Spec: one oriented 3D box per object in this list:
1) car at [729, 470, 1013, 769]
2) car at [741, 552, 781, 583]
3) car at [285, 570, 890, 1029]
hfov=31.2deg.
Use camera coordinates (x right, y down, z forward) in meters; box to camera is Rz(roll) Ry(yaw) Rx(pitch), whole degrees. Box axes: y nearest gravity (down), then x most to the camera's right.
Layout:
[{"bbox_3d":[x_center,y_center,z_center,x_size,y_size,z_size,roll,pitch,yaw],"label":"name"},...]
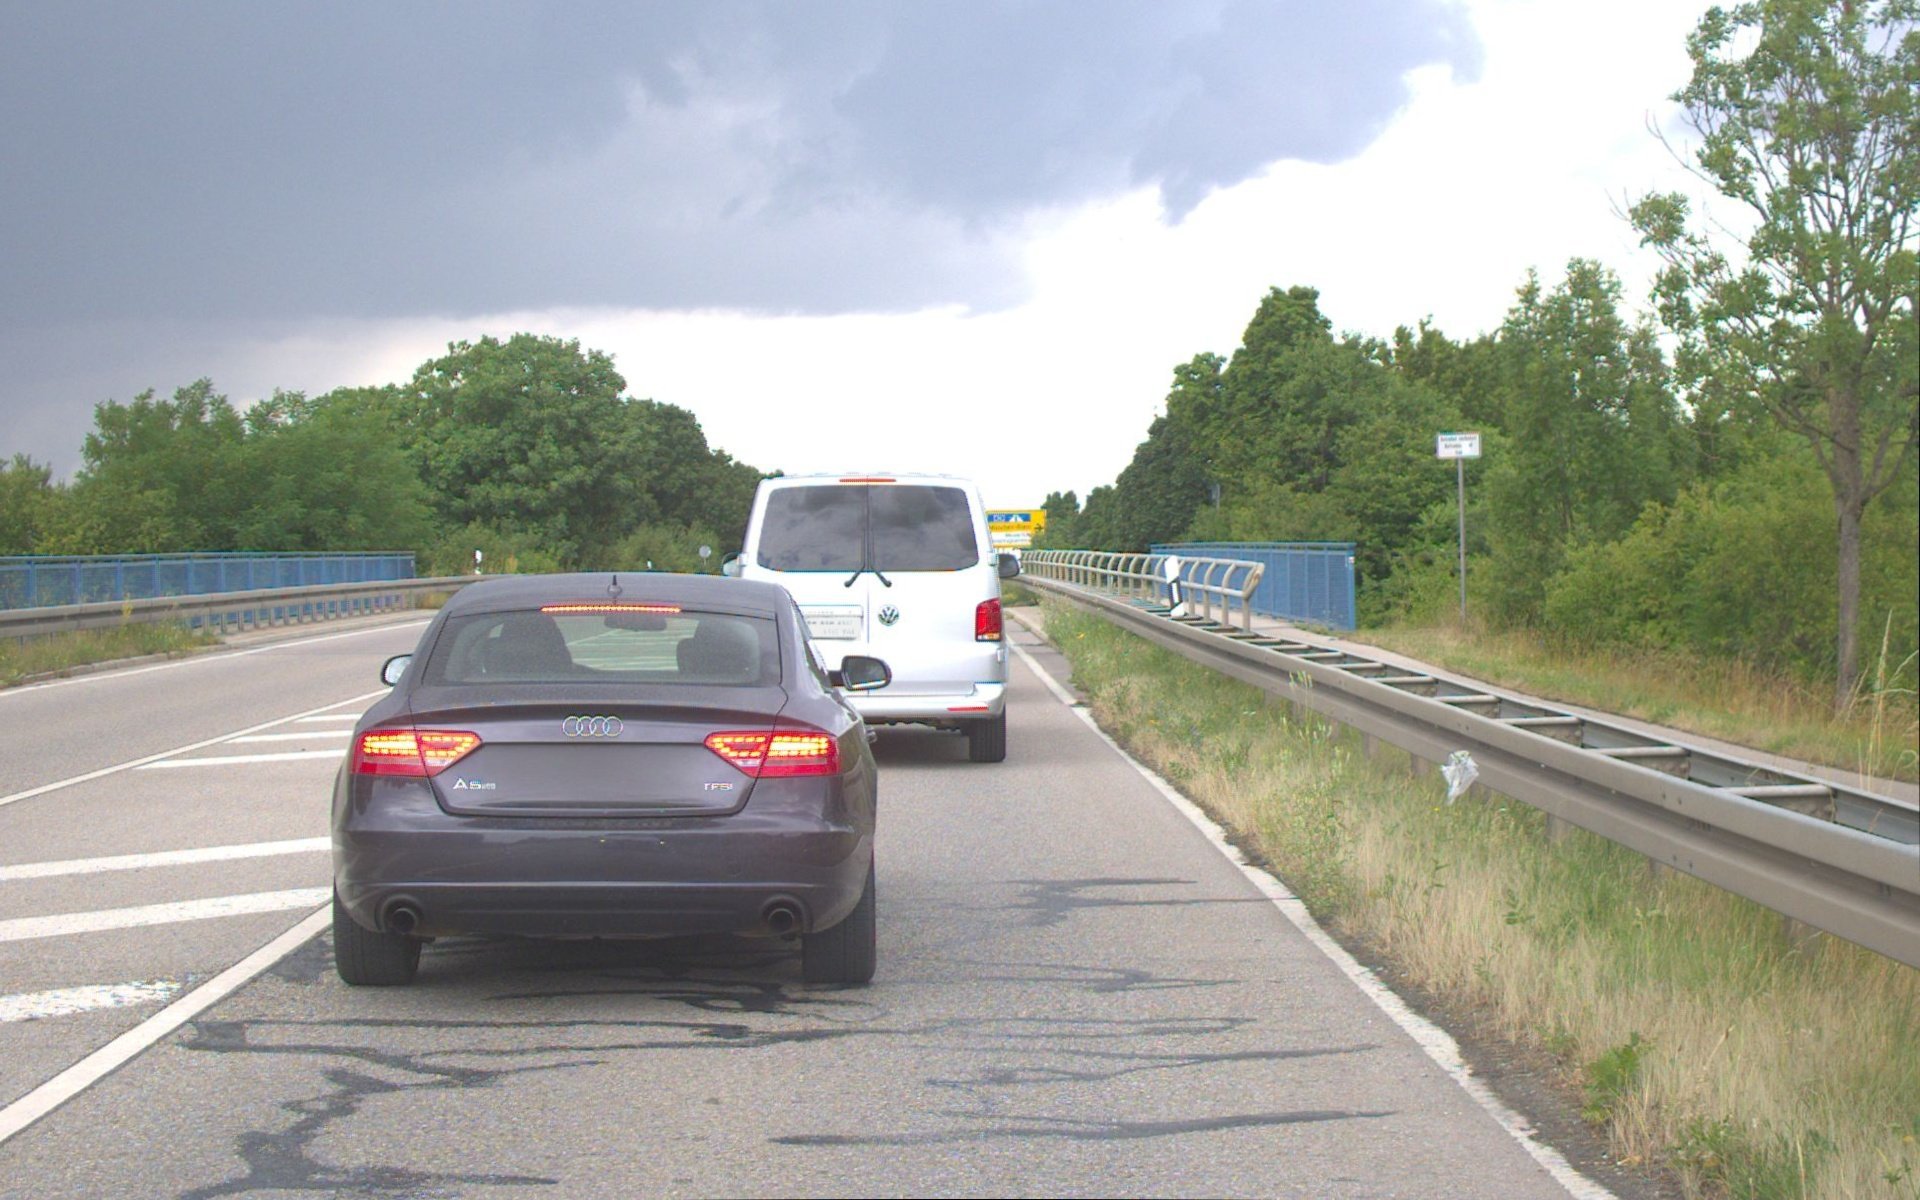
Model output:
[{"bbox_3d":[-0.604,0.097,24.392,1.828,1.929,4.000,-1,1,-1],"label":"car"},{"bbox_3d":[-9.559,-1.553,165.378,1.799,1.445,4.446,-1,1,-2],"label":"car"},{"bbox_3d":[-1.193,0.599,12.665,1.821,1.376,4.072,-1,1,-1],"label":"car"}]
